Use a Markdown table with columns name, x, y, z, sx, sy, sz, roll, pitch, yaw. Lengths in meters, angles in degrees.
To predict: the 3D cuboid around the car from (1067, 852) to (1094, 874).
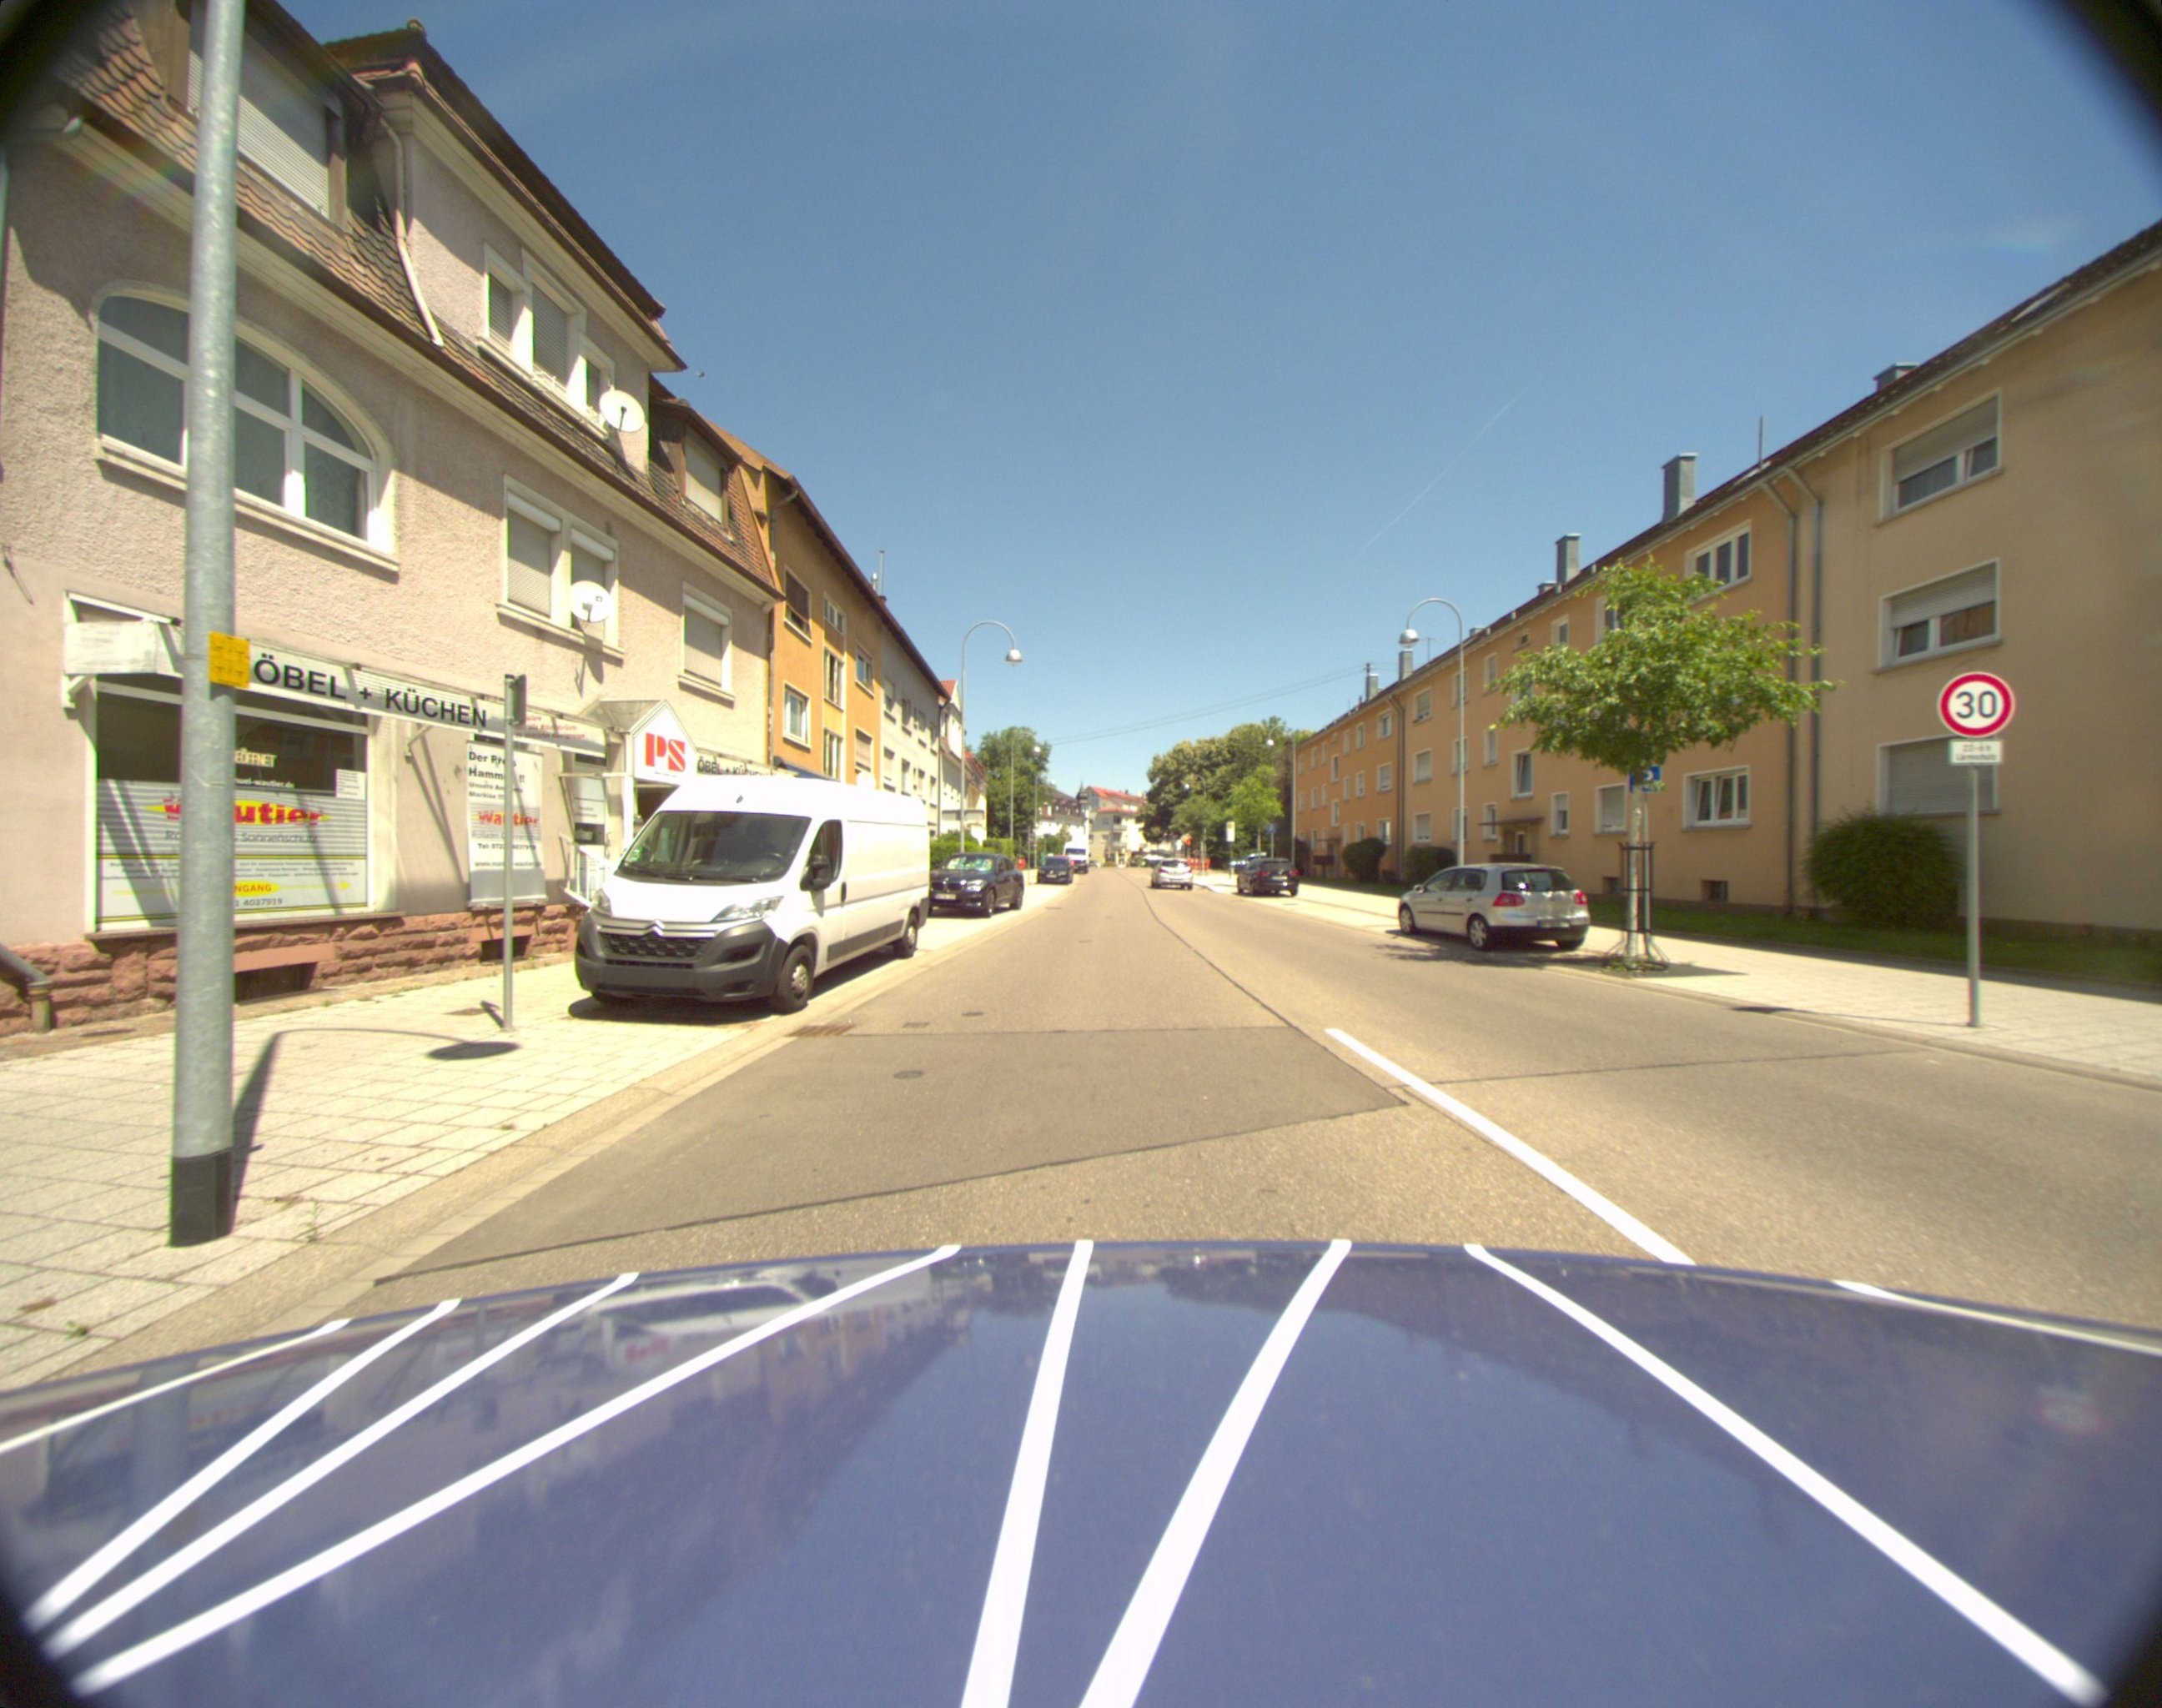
| name | x | y | z | sx | sy | sz | roll | pitch | yaw |
| --- | --- | --- | --- | --- | --- | --- | --- | --- | --- |
| car | -0.012 | 0.638 | 54.851 | 1.808 | 1.521 | 4.150 | 0 | 0 | 1 |

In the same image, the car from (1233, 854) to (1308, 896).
| name | x | y | z | sx | sy | sz | roll | pitch | yaw |
| --- | --- | --- | --- | --- | --- | --- | --- | --- | --- |
| car | 7.532 | 0.801 | 30.601 | 1.862 | 1.498 | 4.562 | -2 | 0 | 0 |

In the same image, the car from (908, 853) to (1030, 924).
| name | x | y | z | sx | sy | sz | roll | pitch | yaw |
| --- | --- | --- | --- | --- | --- | --- | --- | --- | --- |
| car | -2.841 | 0.825 | 20.361 | 1.898 | 1.598 | 4.368 | 2 | 1 | 10 |

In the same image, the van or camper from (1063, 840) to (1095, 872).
| name | x | y | z | sx | sy | sz | roll | pitch | yaw |
| --- | --- | --- | --- | --- | --- | --- | --- | --- | --- |
| van or camper | -0.220 | 0.104 | 60.855 | 2.114 | 2.453 | 6.173 | -1 | 1 | -5 |

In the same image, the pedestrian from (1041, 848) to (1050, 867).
| name | x | y | z | sx | sy | sz | roll | pitch | yaw |
| --- | --- | --- | --- | --- | --- | --- | --- | --- | --- |
| pedestrian | -3.129 | 0.325 | 67.415 | 0.522 | 1.696 | 0.803 | 3 | 0 | -19 |

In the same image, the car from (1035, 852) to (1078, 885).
| name | x | y | z | sx | sy | sz | roll | pitch | yaw |
| --- | --- | --- | --- | --- | --- | --- | --- | --- | --- |
| car | -1.245 | 0.734 | 40.833 | 1.732 | 1.623 | 4.002 | 3 | 0 | 5 |

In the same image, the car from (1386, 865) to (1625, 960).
| name | x | y | z | sx | sy | sz | roll | pitch | yaw |
| --- | --- | --- | --- | --- | --- | --- | --- | --- | --- |
| car | 7.578 | 0.952 | 14.116 | 1.999 | 1.412 | 4.087 | -1 | 0 | -3 |

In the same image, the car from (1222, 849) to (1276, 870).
| name | x | y | z | sx | sy | sz | roll | pitch | yaw |
| --- | --- | --- | --- | --- | --- | --- | --- | --- | --- |
| car | 15.125 | 0.461 | 68.396 | 4.438 | 1.863 | 1.817 | 0 | 1 | -9 |

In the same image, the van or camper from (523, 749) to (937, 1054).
| name | x | y | z | sx | sy | sz | roll | pitch | yaw |
| --- | --- | --- | --- | --- | --- | --- | --- | --- | --- |
| van or camper | -3.583 | 0.388 | 9.400 | 2.170 | 2.574 | 5.767 | 1 | 0 | 3 |

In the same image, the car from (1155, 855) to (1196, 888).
| name | x | y | z | sx | sy | sz | roll | pitch | yaw |
| --- | --- | --- | --- | --- | --- | --- | --- | --- | --- |
| car | 4.513 | 0.793 | 36.608 | 1.663 | 1.488 | 3.760 | 0 | 0 | 3 |
